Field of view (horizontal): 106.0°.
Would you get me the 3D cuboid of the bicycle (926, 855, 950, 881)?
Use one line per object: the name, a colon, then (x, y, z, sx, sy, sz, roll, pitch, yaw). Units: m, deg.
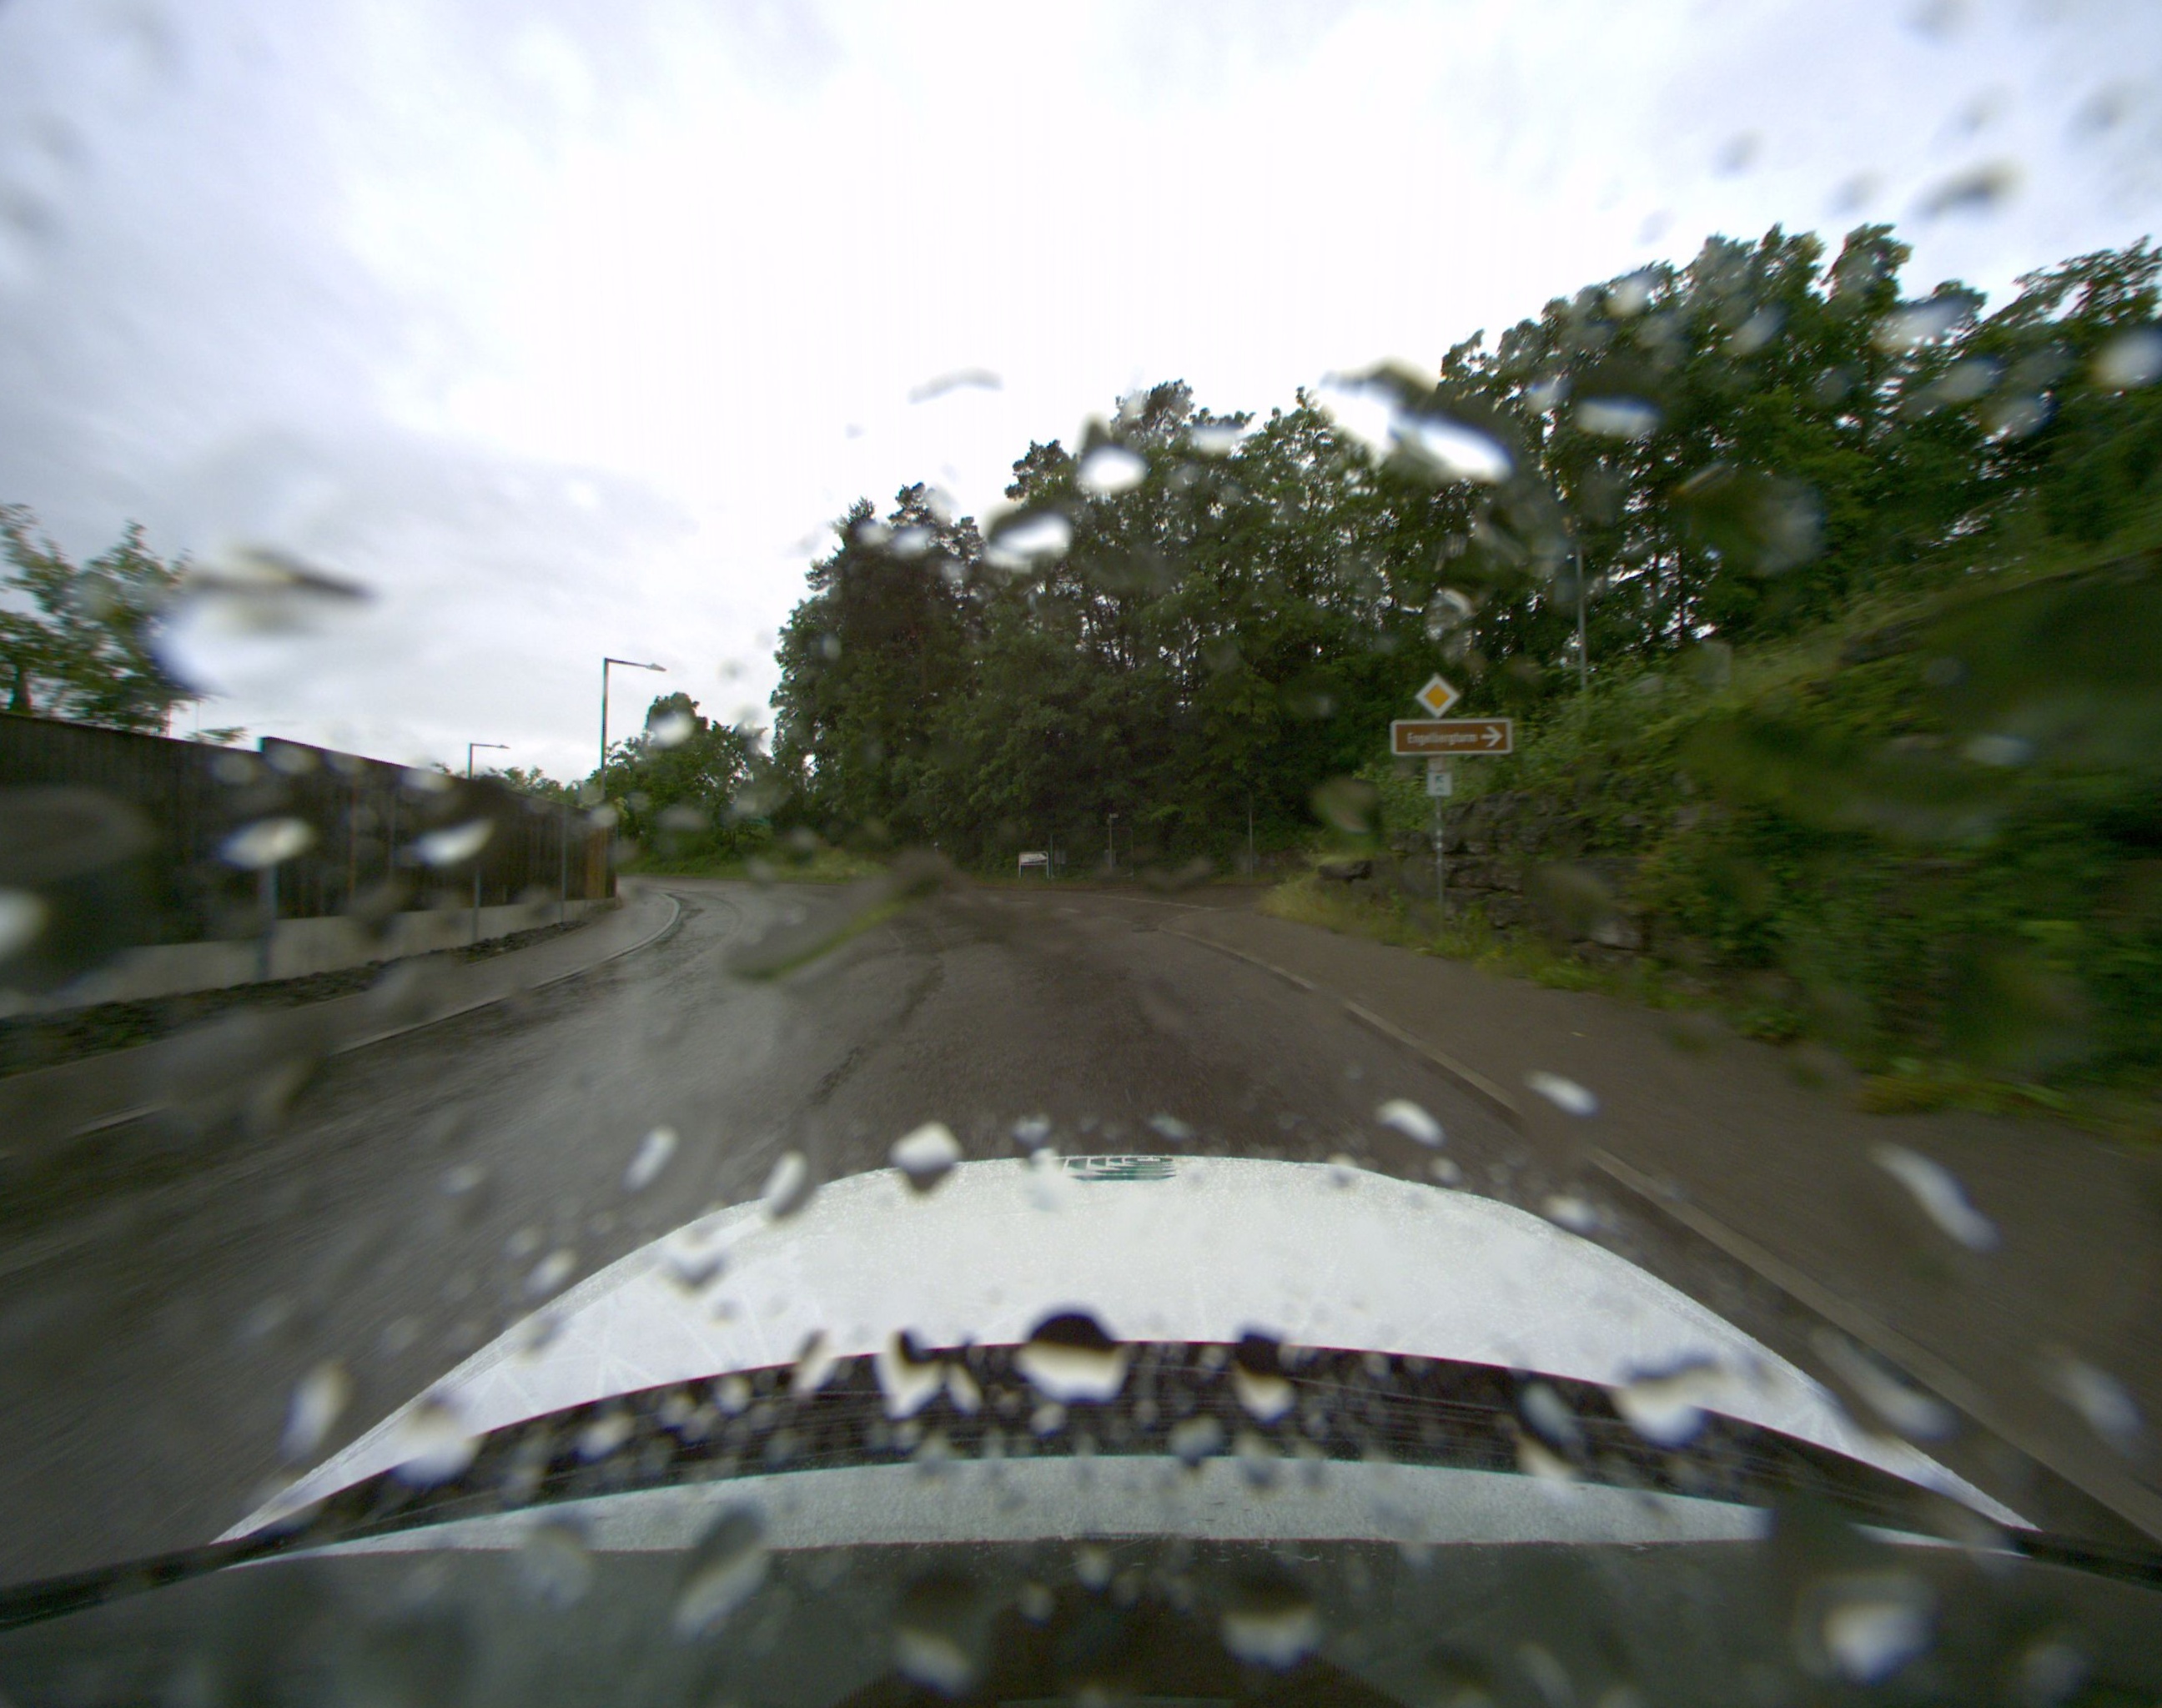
bicycle: (-6.291, 0.604, 35.795, 0.531, 1.085, 1.605, 0, 0, -31)

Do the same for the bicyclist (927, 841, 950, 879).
bicyclist: (-6.260, 0.259, 35.753, 0.725, 1.615, 0.897, 0, 0, -30)
